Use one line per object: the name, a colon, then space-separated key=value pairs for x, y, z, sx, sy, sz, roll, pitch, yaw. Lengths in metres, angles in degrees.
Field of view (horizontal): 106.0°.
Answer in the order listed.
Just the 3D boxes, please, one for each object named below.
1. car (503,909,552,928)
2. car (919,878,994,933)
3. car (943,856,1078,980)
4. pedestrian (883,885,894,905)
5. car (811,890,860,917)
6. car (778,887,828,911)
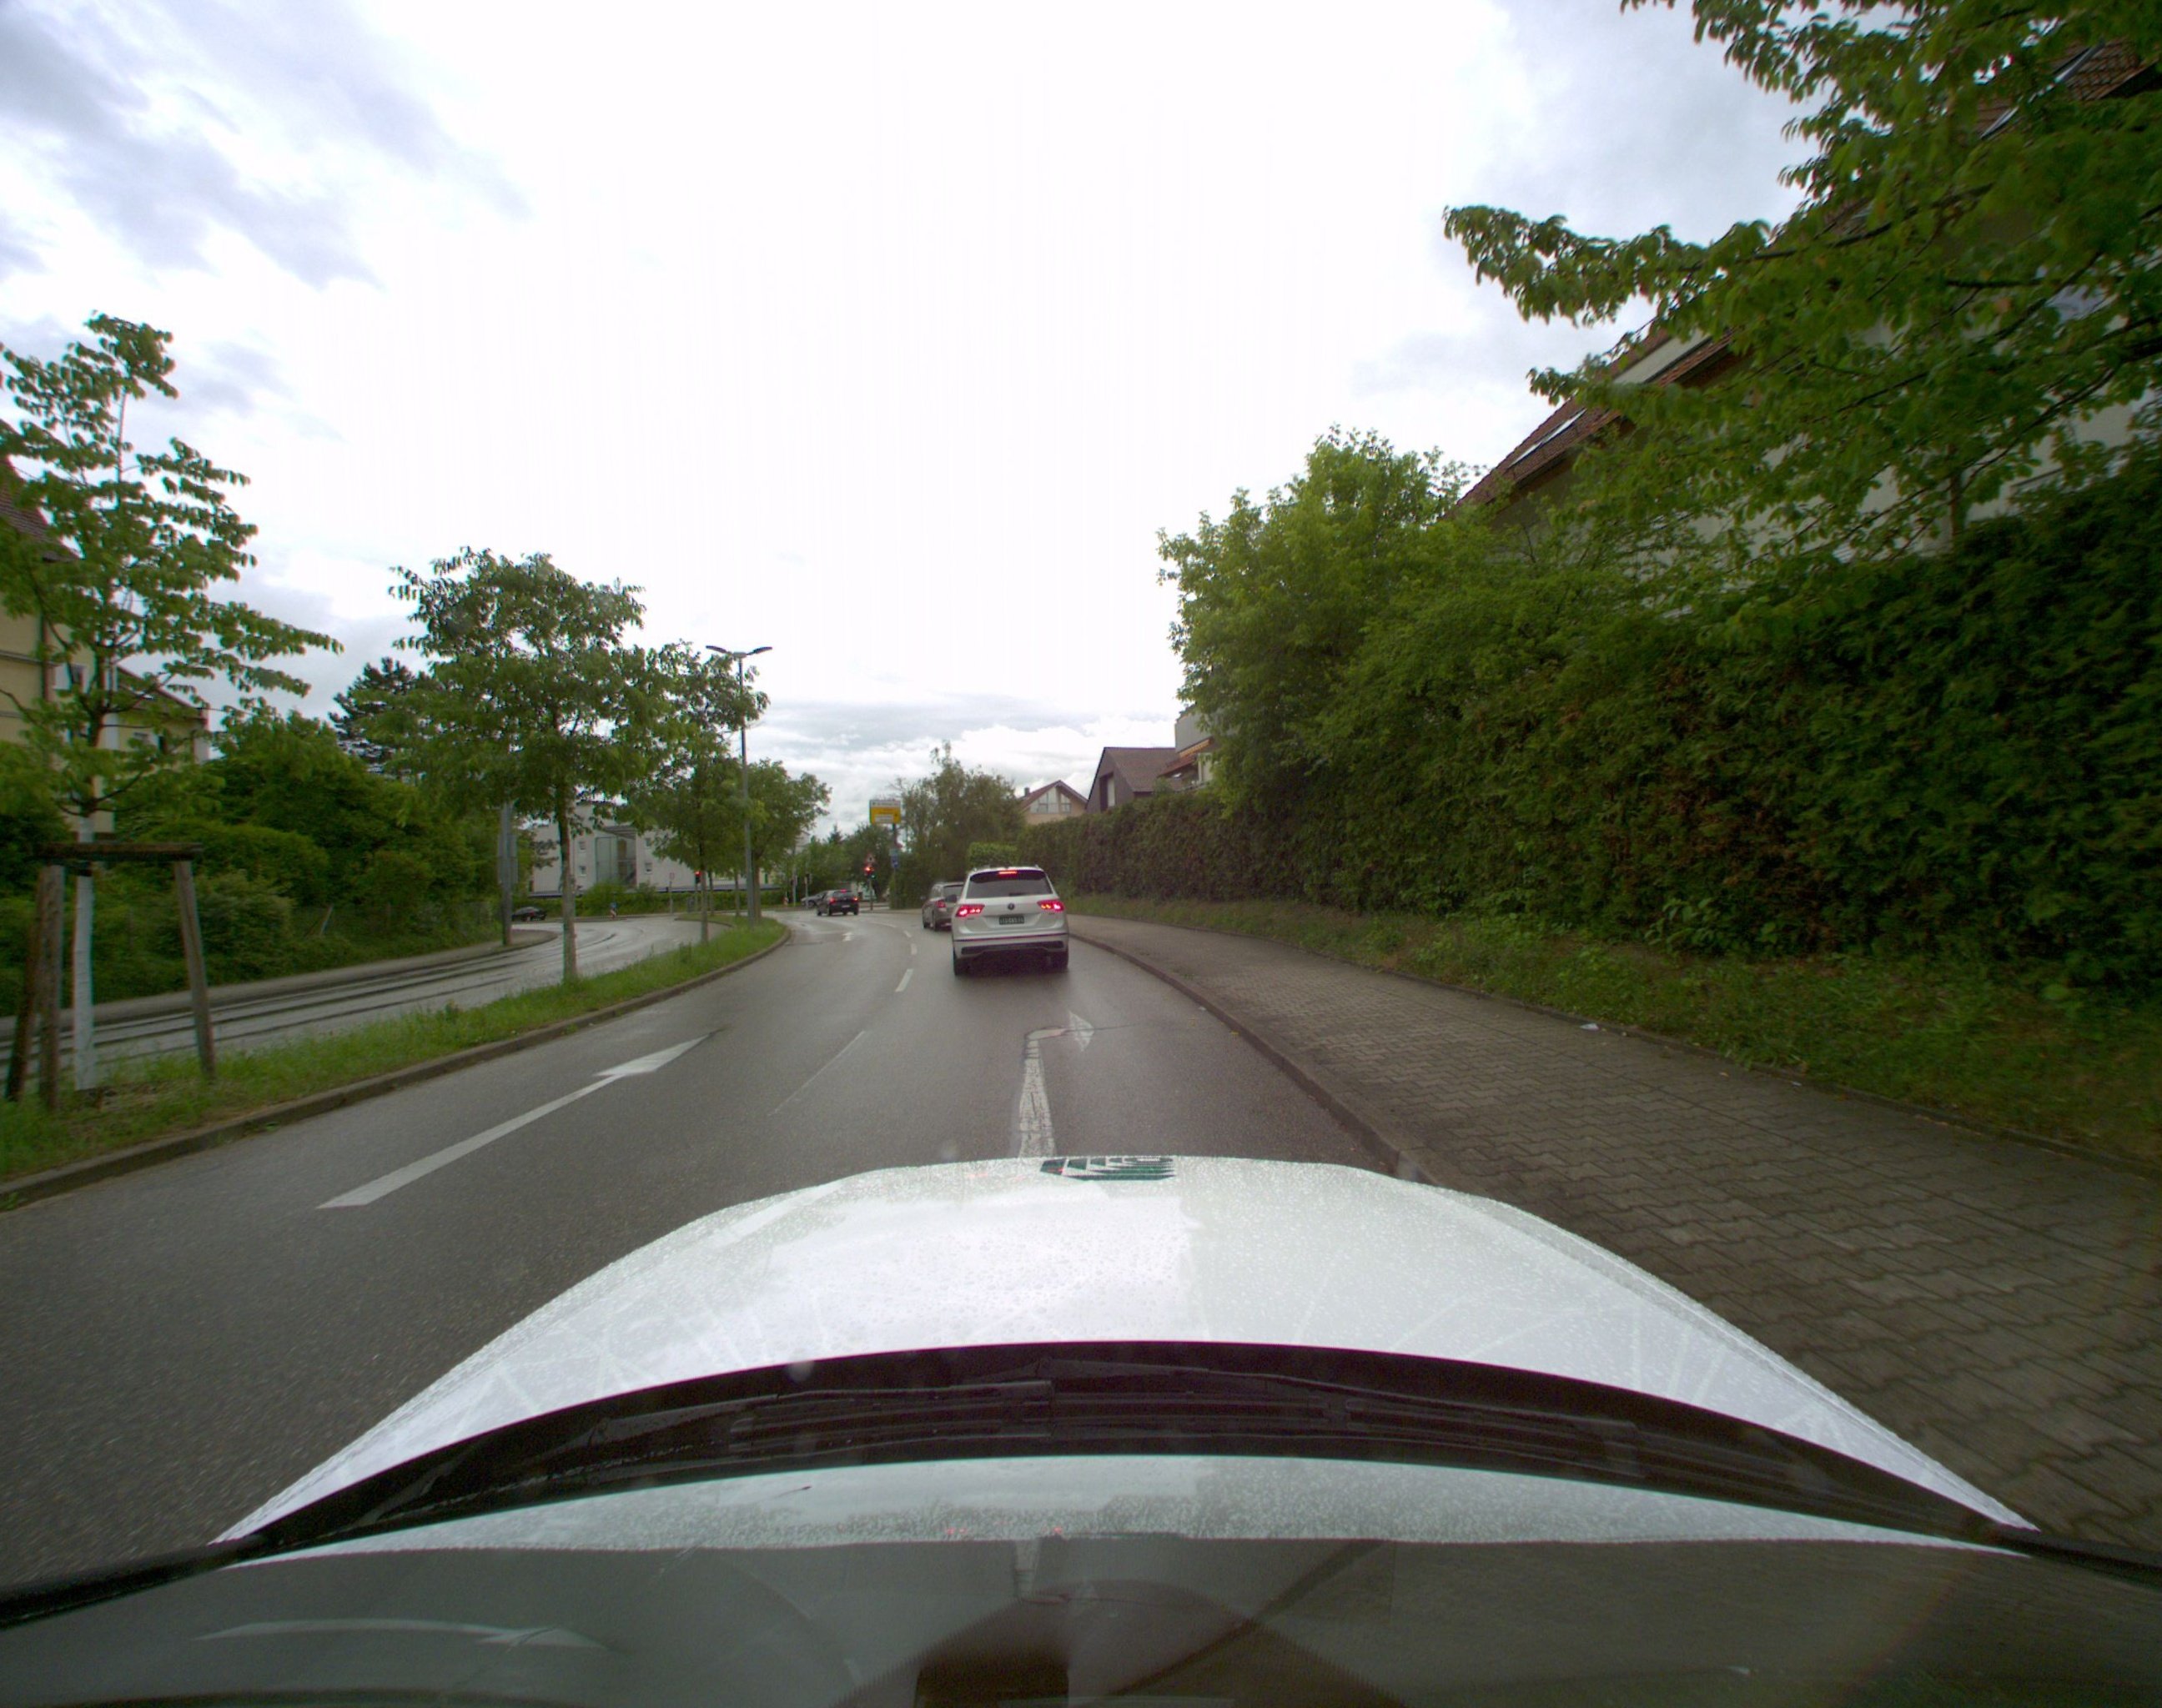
car: x=-56.454 y=6.565 z=83.070 sx=3.956 sy=1.555 sz=2.009 roll=-3 pitch=-1 yaw=16
car: x=-4.056 y=1.578 z=26.046 sx=1.770 sy=1.510 sz=3.976 roll=0 pitch=0 yaw=-18
car: x=-1.245 y=0.996 z=14.125 sx=1.918 sy=1.722 sz=4.255 roll=-2 pitch=-2 yaw=-6
pedestrian: x=-19.353 y=4.134 z=81.807 sx=0.805 sy=2.014 sz=0.840 roll=-1 pitch=-1 yaw=-38
car: x=-14.480 y=2.914 z=47.894 sx=1.863 sy=1.429 sz=3.960 roll=-1 pitch=-2 yaw=-31
car: x=-25.694 y=4.147 z=75.389 sx=3.985 sy=2.014 sz=1.975 roll=0 pitch=-1 yaw=-9
